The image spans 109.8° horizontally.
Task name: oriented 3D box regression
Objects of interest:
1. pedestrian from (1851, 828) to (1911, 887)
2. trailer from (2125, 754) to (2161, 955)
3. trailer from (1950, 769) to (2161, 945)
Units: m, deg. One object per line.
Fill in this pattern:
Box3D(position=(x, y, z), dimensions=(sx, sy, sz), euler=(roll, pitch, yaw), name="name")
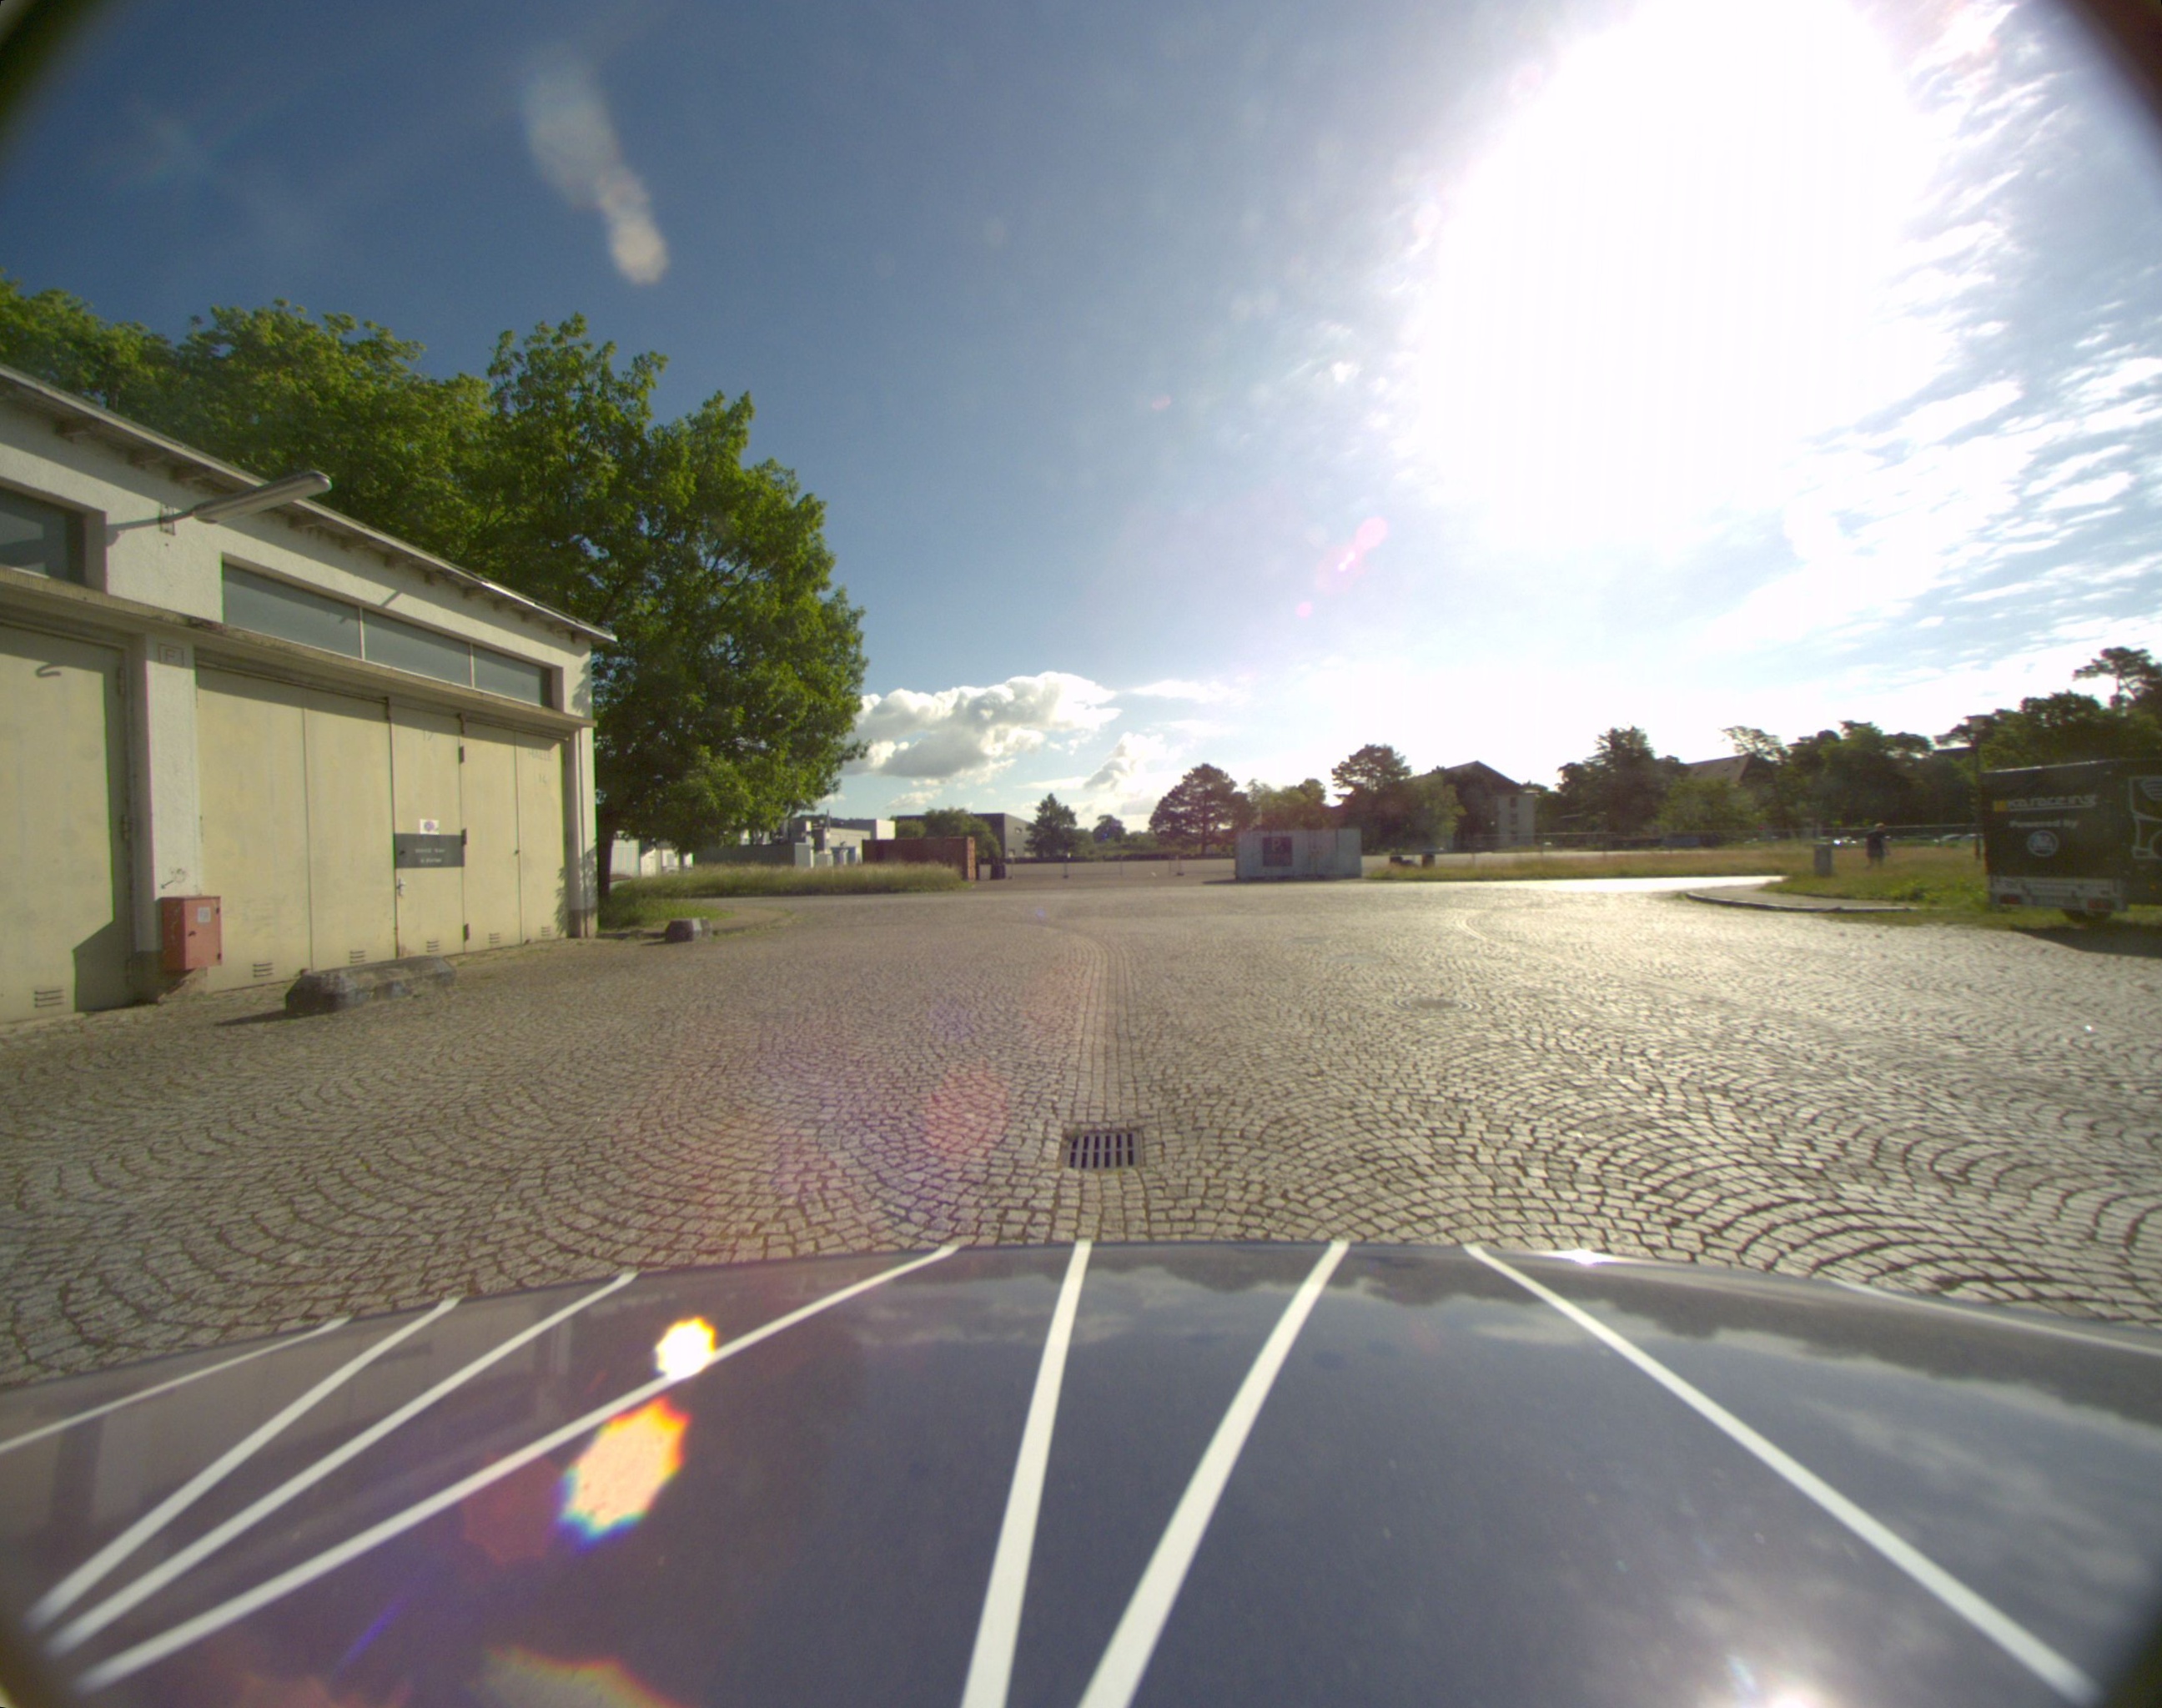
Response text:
Box3D(position=(26.534, 0.108, 25.207), dimensions=(1.141, 1.903, 0.800), euler=(-1, 1, 3), name="pedestrian")
Box3D(position=(15.185, -0.086, 8.410), dimensions=(4.853, 2.377, 1.942), euler=(-2, 1, -3), name="trailer")
Box3D(position=(15.770, -0.050, 10.767), dimensions=(4.464, 2.260, 2.014), euler=(-2, 1, 2), name="trailer")
